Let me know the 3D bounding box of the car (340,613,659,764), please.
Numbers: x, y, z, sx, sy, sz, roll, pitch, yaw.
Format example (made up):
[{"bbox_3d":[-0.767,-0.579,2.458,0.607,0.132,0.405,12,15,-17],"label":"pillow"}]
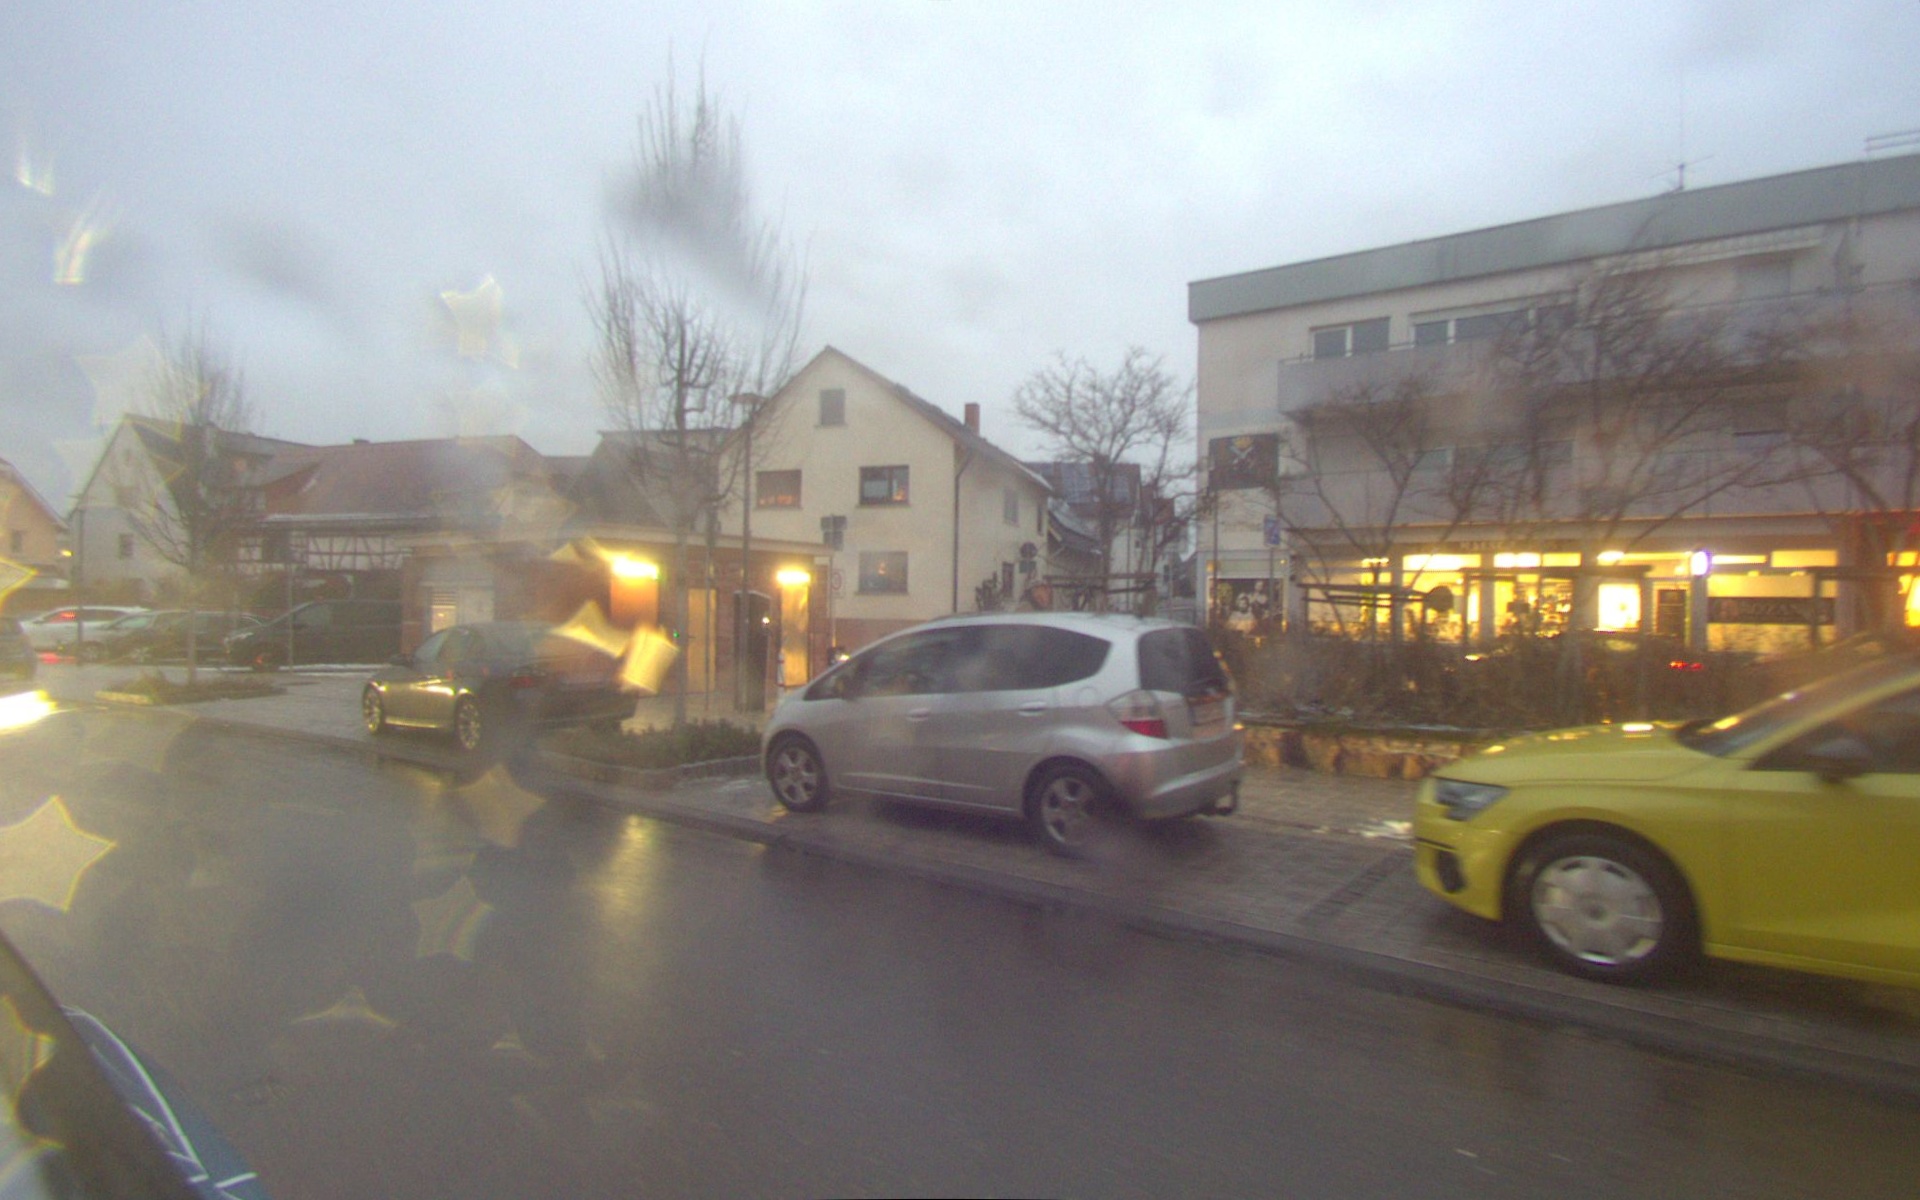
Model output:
[{"bbox_3d":[-5.681,0.911,12.219,4.454,1.483,1.729,-1,0,39],"label":"car"}]

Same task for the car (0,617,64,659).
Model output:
[{"bbox_3d":[-34.252,1.318,35.567,1.758,1.470,4.015,-1,-1,44],"label":"car"}]

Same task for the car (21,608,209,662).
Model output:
[{"bbox_3d":[-27.547,1.124,33.136,4.583,1.666,1.991,2,-1,-41],"label":"car"}]

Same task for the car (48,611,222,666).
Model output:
[{"bbox_3d":[-25.428,1.179,31.301,4.049,1.594,1.723,2,-2,-41],"label":"car"}]

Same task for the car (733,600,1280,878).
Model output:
[{"bbox_3d":[0.204,0.790,7.462,3.768,1.528,1.676,-1,0,38],"label":"car"}]

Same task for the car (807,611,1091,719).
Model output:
[{"bbox_3d":[-0.153,0.976,15.636,4.018,1.488,1.745,2,-2,-26],"label":"car"}]

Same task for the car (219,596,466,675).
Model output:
[{"bbox_3d":[-16.105,0.947,26.607,5.307,1.900,2.079,2,-3,-34],"label":"car"}]

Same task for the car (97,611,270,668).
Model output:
[{"bbox_3d":[-22.855,1.125,29.956,3.934,1.541,2.004,0,-1,-37],"label":"car"}]

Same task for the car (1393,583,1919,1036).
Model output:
[{"bbox_3d":[4.159,0.699,3.788,4.341,1.527,1.730,-1,1,42],"label":"car"}]

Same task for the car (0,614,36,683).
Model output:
[{"bbox_3d":[-23.351,1.118,23.410,3.658,1.547,1.822,0,0,28],"label":"car"}]

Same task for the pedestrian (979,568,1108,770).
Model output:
[{"bbox_3d":[0.827,0.656,10.106,1.060,1.881,0.746,-1,-2,41],"label":"pedestrian"}]
